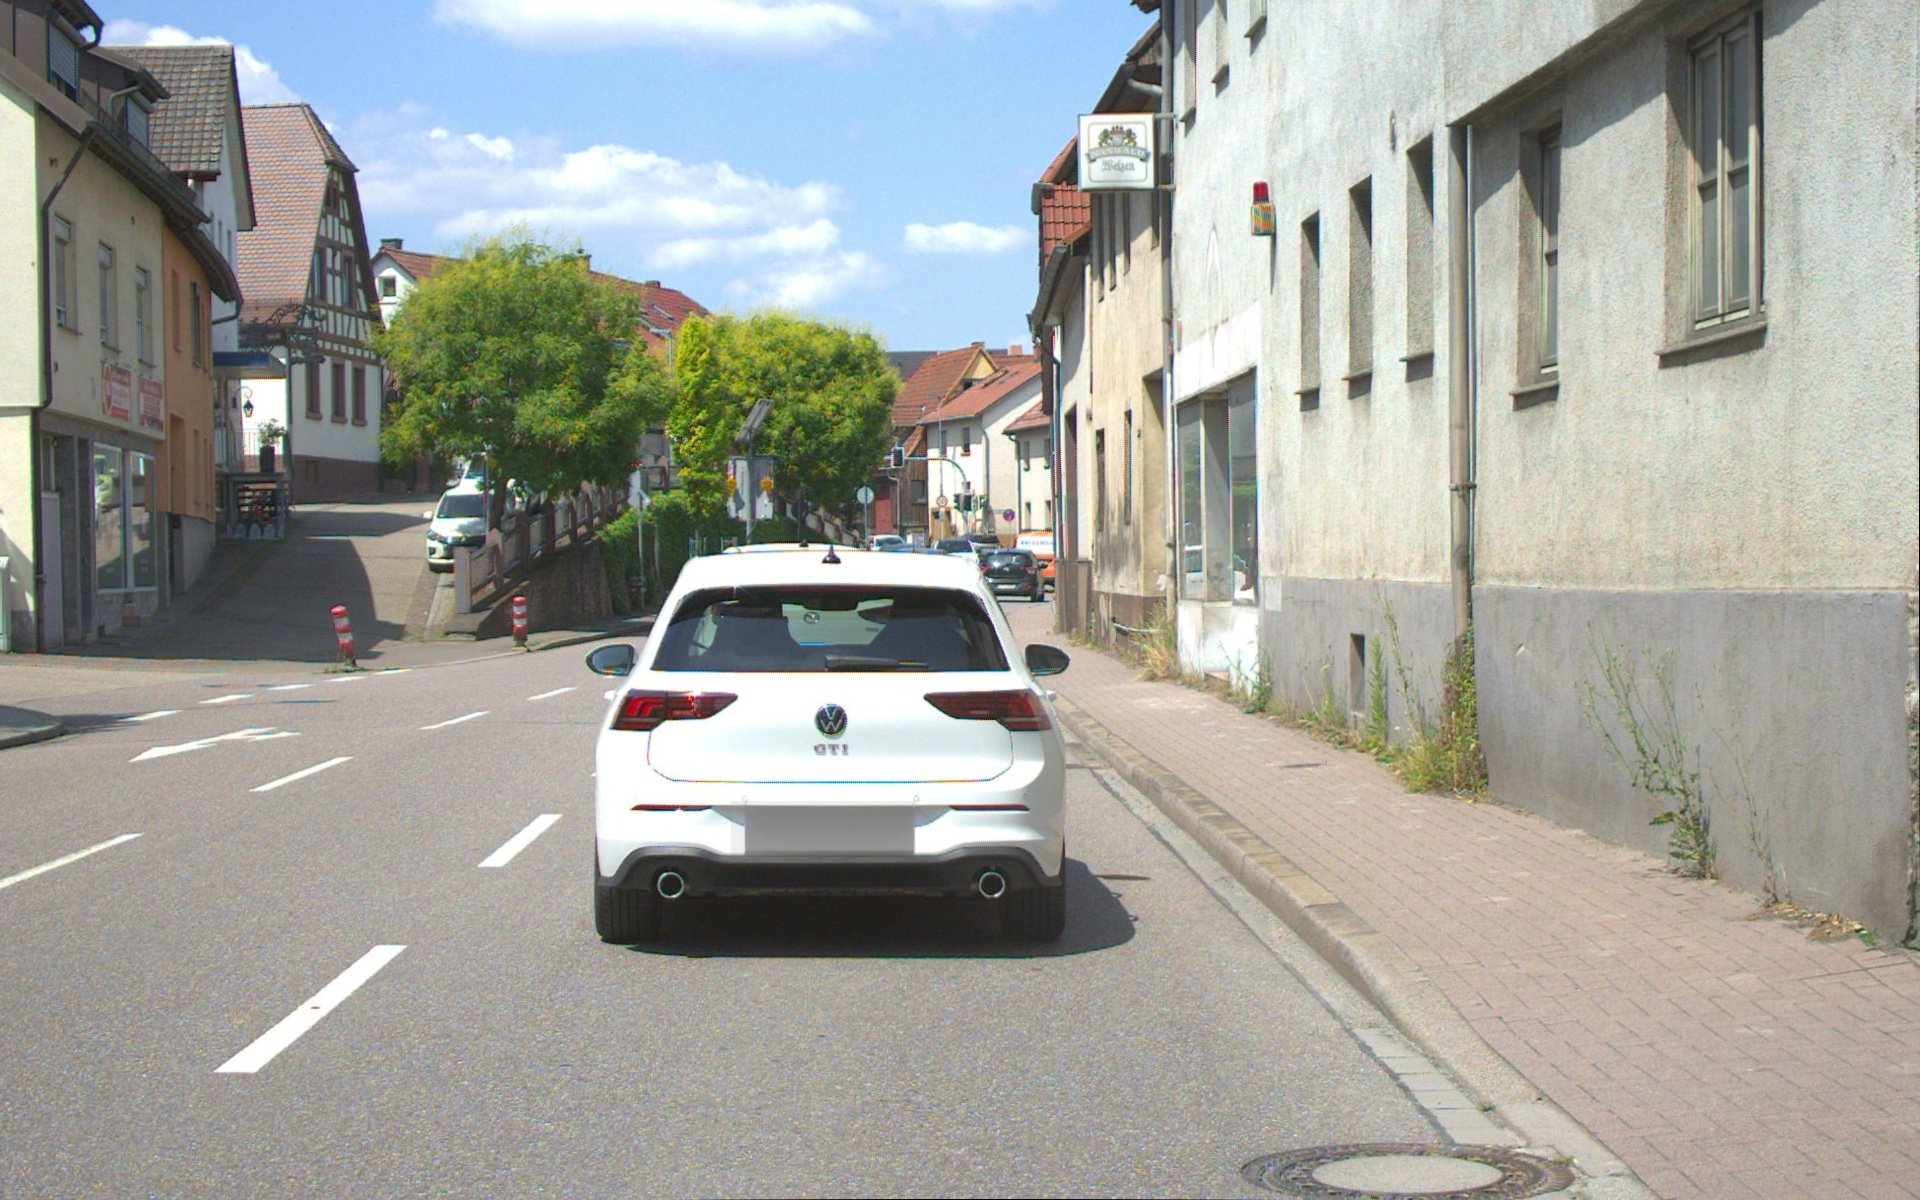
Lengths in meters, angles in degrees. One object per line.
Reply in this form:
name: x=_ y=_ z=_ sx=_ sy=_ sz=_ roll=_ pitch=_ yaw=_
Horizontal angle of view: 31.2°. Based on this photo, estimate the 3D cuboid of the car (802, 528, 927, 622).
car: x=-1.492 y=-0.419 z=55.163 sx=1.808 sy=1.462 sz=4.000 roll=0 pitch=1 yaw=1

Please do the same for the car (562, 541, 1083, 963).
car: x=-0.466 y=0.495 z=13.922 sx=1.808 sy=1.462 sz=4.000 roll=0 pitch=1 yaw=0

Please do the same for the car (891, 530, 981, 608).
car: x=-0.470 y=-0.681 z=72.476 sx=1.775 sy=1.533 sz=4.000 roll=-2 pitch=1 yaw=1

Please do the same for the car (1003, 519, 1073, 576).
car: x=2.551 y=-1.728 z=111.898 sx=1.776 sy=1.759 sz=3.999 roll=-1 pitch=1 yaw=8

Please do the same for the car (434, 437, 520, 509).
car: x=-11.391 y=-3.023 z=81.296 sx=1.576 sy=1.357 sz=3.857 roll=-1 pitch=7 yaw=-2

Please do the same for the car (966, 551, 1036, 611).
car: x=1.170 y=-0.548 z=95.908 sx=1.775 sy=1.533 sz=4.000 roll=-2 pitch=1 yaw=3

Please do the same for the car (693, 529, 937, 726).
car: x=-1.235 y=0.173 z=27.600 sx=1.807 sy=1.462 sz=4.001 roll=0 pitch=1 yaw=-5

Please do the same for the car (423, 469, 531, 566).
car: x=-9.693 y=-1.687 z=69.224 sx=1.693 sy=1.537 sz=3.857 roll=-1 pitch=7 yaw=-2
